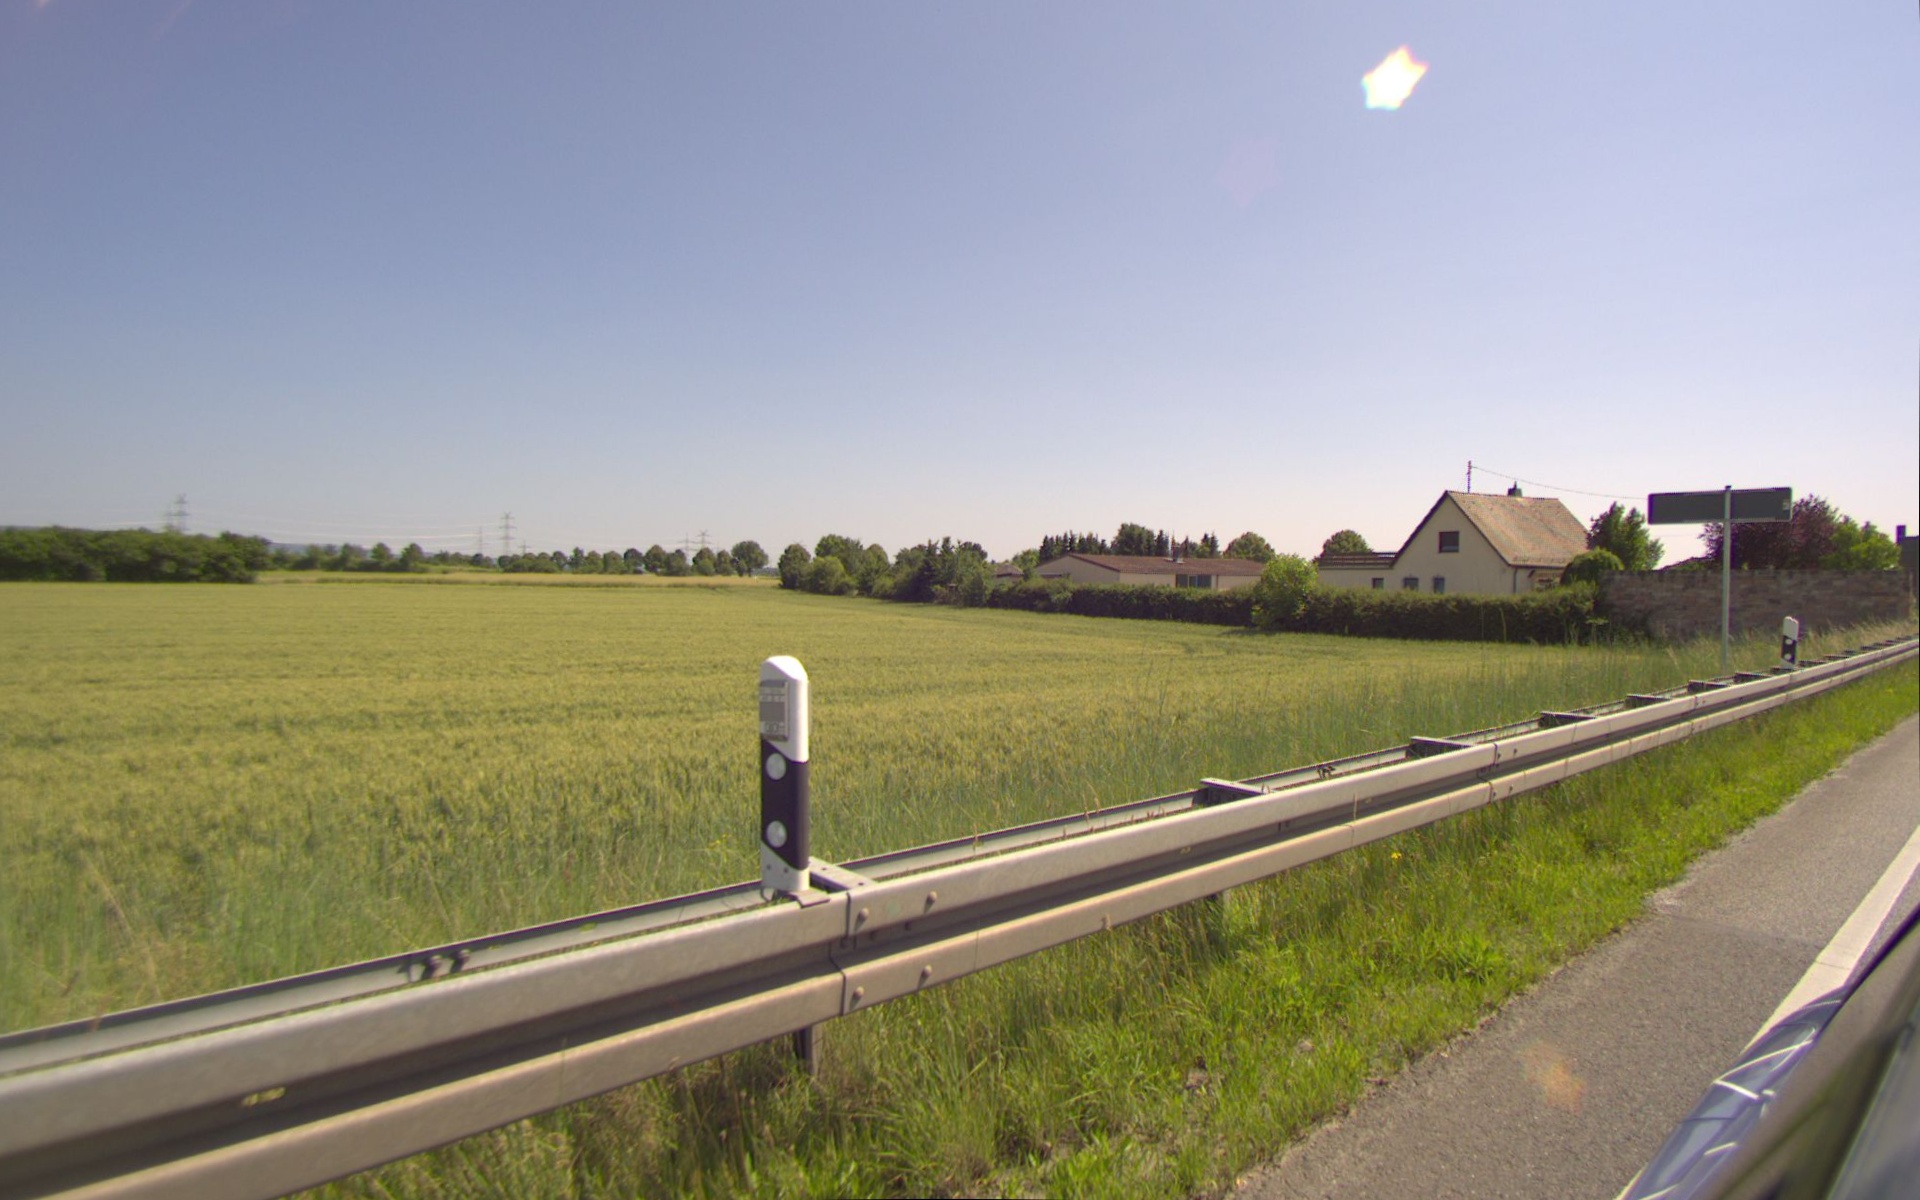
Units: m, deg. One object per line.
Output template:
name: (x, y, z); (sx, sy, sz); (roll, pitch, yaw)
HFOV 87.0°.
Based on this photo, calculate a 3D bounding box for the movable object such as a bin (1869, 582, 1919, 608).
movable object such as a bin: (89.220, -0.462, 96.249); (4.088, 2.361, 1.259); (-1, 0, 41)
